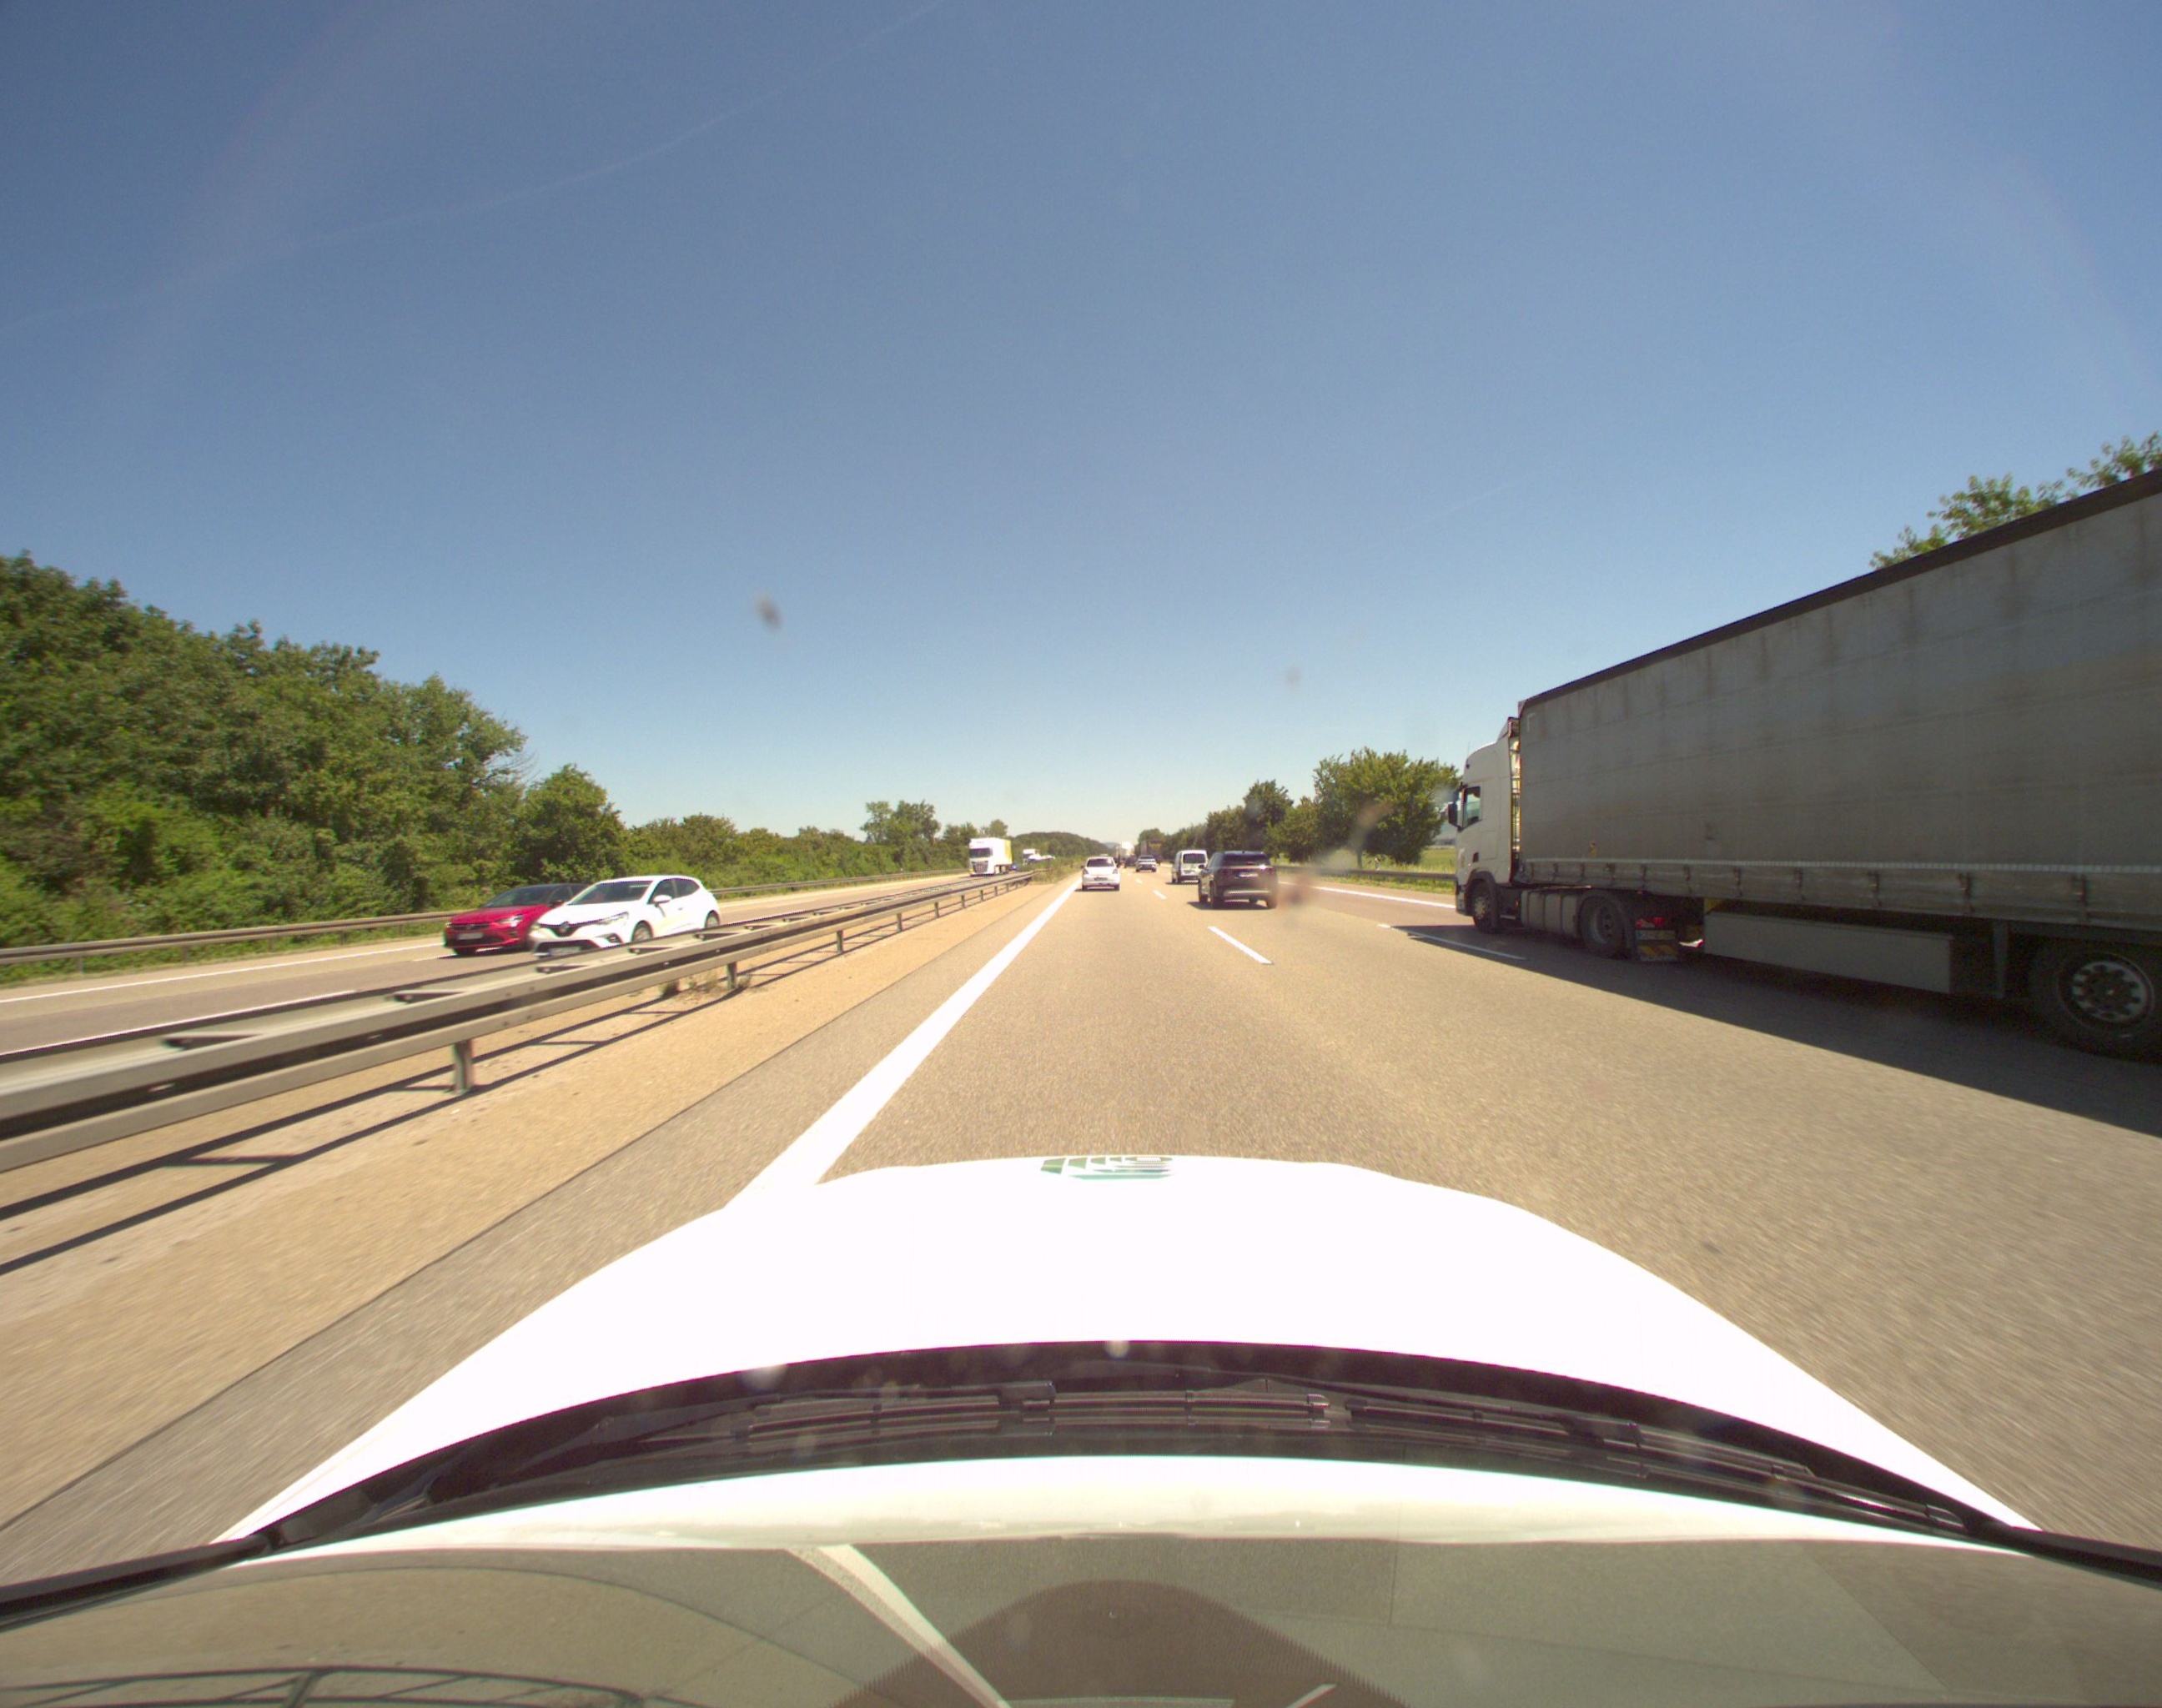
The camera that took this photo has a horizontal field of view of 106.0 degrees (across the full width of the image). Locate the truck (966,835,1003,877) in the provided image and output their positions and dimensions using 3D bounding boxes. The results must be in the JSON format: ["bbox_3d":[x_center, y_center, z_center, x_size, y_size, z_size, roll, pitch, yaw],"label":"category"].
[{"bbox_3d":[-10.214,0.205,86.740,2.729,4.085,6.221,-3,0,3],"label":"truck"}]

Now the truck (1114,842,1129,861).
[{"bbox_3d":[9.225,-0.581,185.216,3.381,4.214,12.090,0,0,3],"label":"truck"}]

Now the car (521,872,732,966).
[{"bbox_3d":[-8.407,1.123,15.516,1.713,1.422,3.898,-3,-1,1],"label":"car"}]

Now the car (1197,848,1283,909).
[{"bbox_3d":[4.695,0.689,24.754,1.860,1.675,4.748,0,0,2],"label":"car"}]

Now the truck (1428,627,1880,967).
[{"bbox_3d":[8.765,-0.702,13.900,2.799,4.304,7.195,0,0,2],"label":"truck"}]

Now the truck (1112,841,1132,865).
[{"bbox_3d":[7.214,-0.192,143.999,2.904,4.079,7.190,0,0,-2],"label":"truck"}]

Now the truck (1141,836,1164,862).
[{"bbox_3d":[11.843,-0.779,135.559,3.096,4.139,15.520,0,0,3],"label":"truck"}]

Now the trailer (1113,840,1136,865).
[{"bbox_3d":[7.336,-0.157,139.546,2.904,4.069,12.409,0,0,-2],"label":"trailer"}]

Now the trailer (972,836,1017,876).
[{"bbox_3d":[-9.842,0.225,94.103,2.729,4.085,14.357,-3,0,3],"label":"trailer"}]

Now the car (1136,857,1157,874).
[{"bbox_3d":[6.260,1.127,78.641,1.795,1.603,4.382,0,0,2],"label":"car"}]

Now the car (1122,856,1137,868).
[{"bbox_3d":[6.249,0.986,104.712,1.843,1.523,3.958,0,0,2],"label":"car"}]

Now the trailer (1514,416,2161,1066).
[{"bbox_3d":[8.580,-0.742,6.637,2.800,4.304,14.257,0,0,1],"label":"trailer"}]

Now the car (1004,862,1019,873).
[{"bbox_3d":[-9.751,1.869,114.020,1.566,1.386,3.968,-4,-1,1],"label":"car"}]

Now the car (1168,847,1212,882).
[{"bbox_3d":[5.957,0.570,45.019,1.847,1.863,4.702,0,0,0],"label":"car"}]

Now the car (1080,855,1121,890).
[{"bbox_3d":[0.889,0.819,37.357,1.793,1.552,3.610,0,0,1],"label":"car"}]

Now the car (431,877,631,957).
[{"bbox_3d":[-12.555,1.370,18.963,1.767,1.417,4.110,-4,0,0],"label":"car"}]
